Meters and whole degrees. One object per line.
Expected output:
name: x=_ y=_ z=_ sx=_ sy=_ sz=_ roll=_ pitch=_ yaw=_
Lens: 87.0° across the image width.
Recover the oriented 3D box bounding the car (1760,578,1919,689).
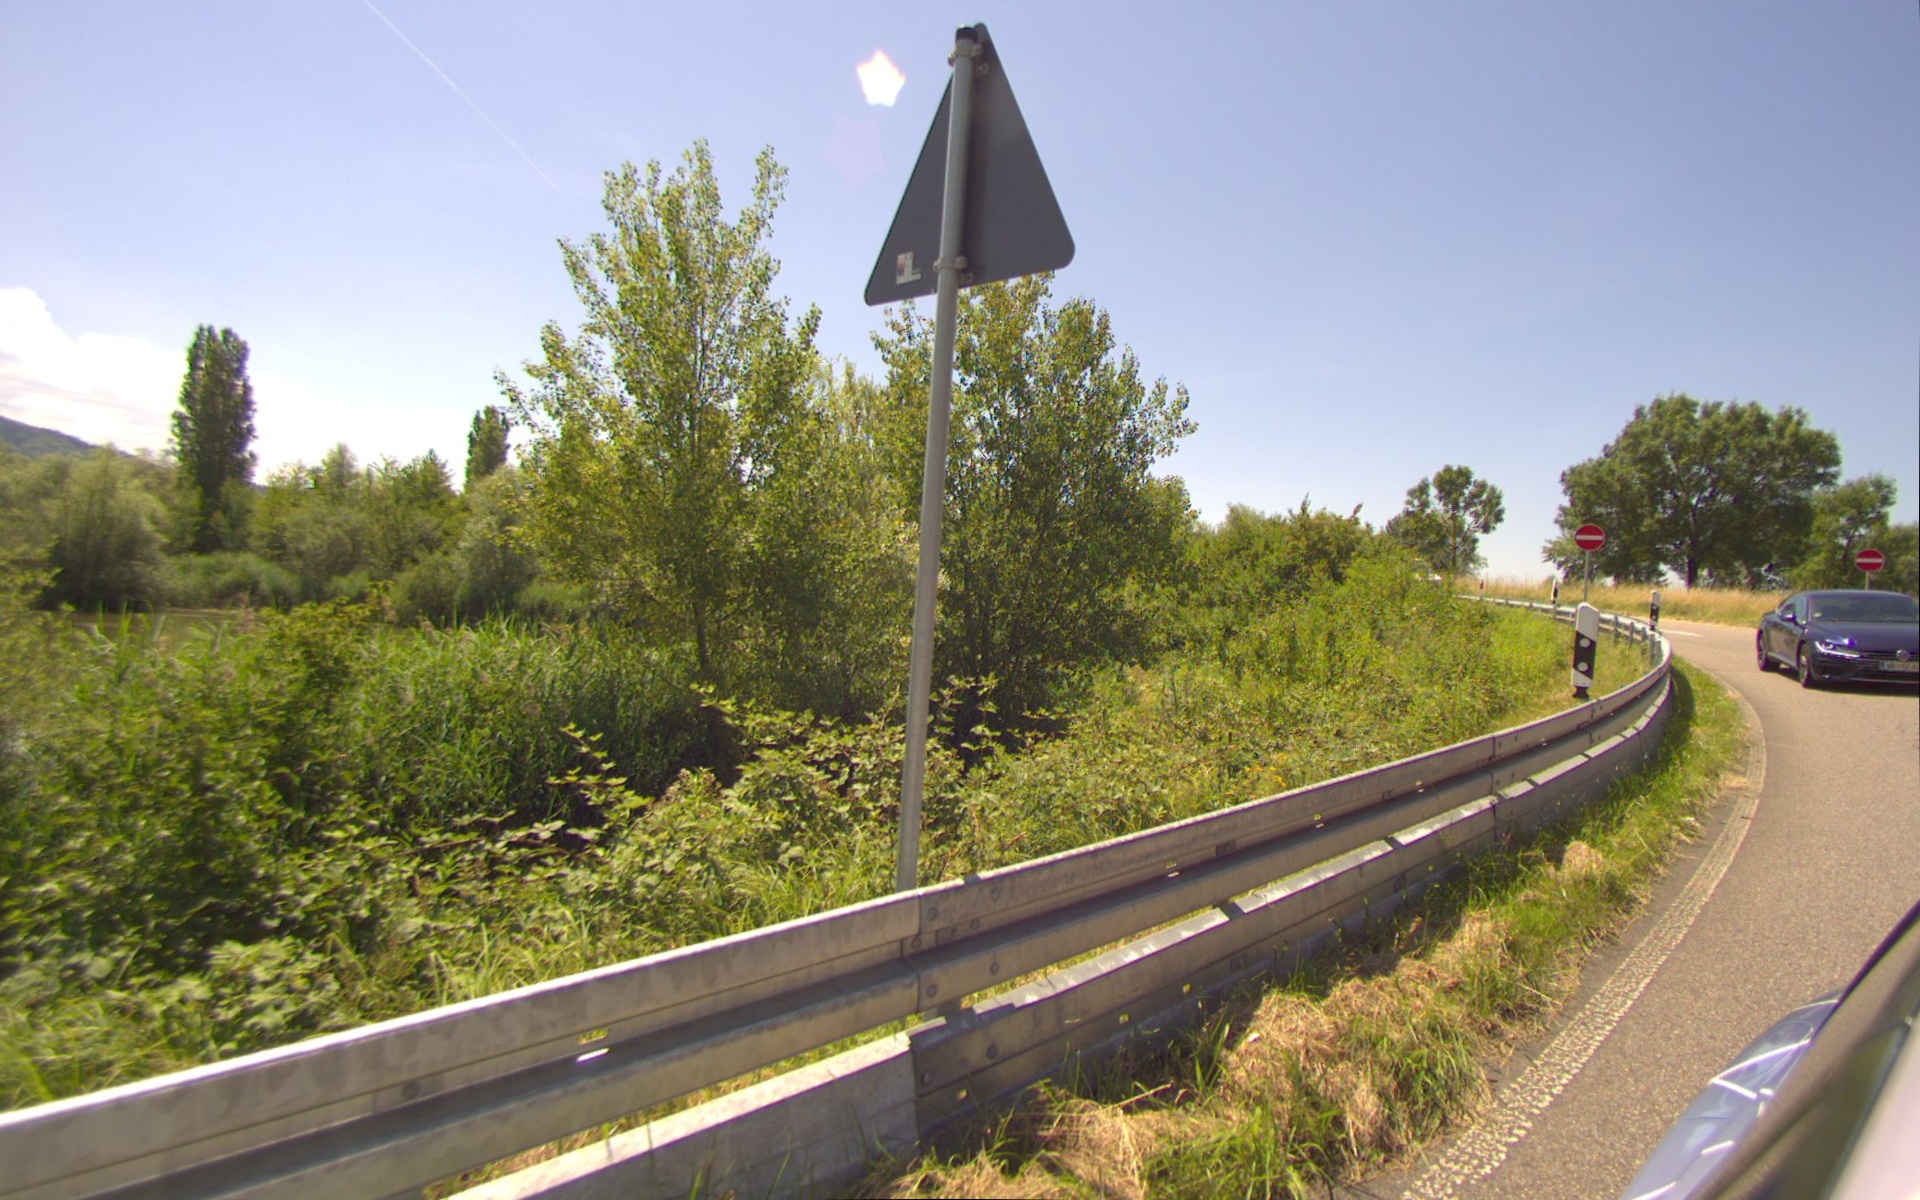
car: x=14.019 y=0.416 z=15.689 sx=1.828 sy=1.448 sz=4.487 roll=1 pitch=2 yaw=30

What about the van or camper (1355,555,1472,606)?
van or camper: x=19.577 y=-0.877 z=44.008 sx=1.969 sy=2.056 sz=5.458 roll=-1 pitch=2 yaw=-9
